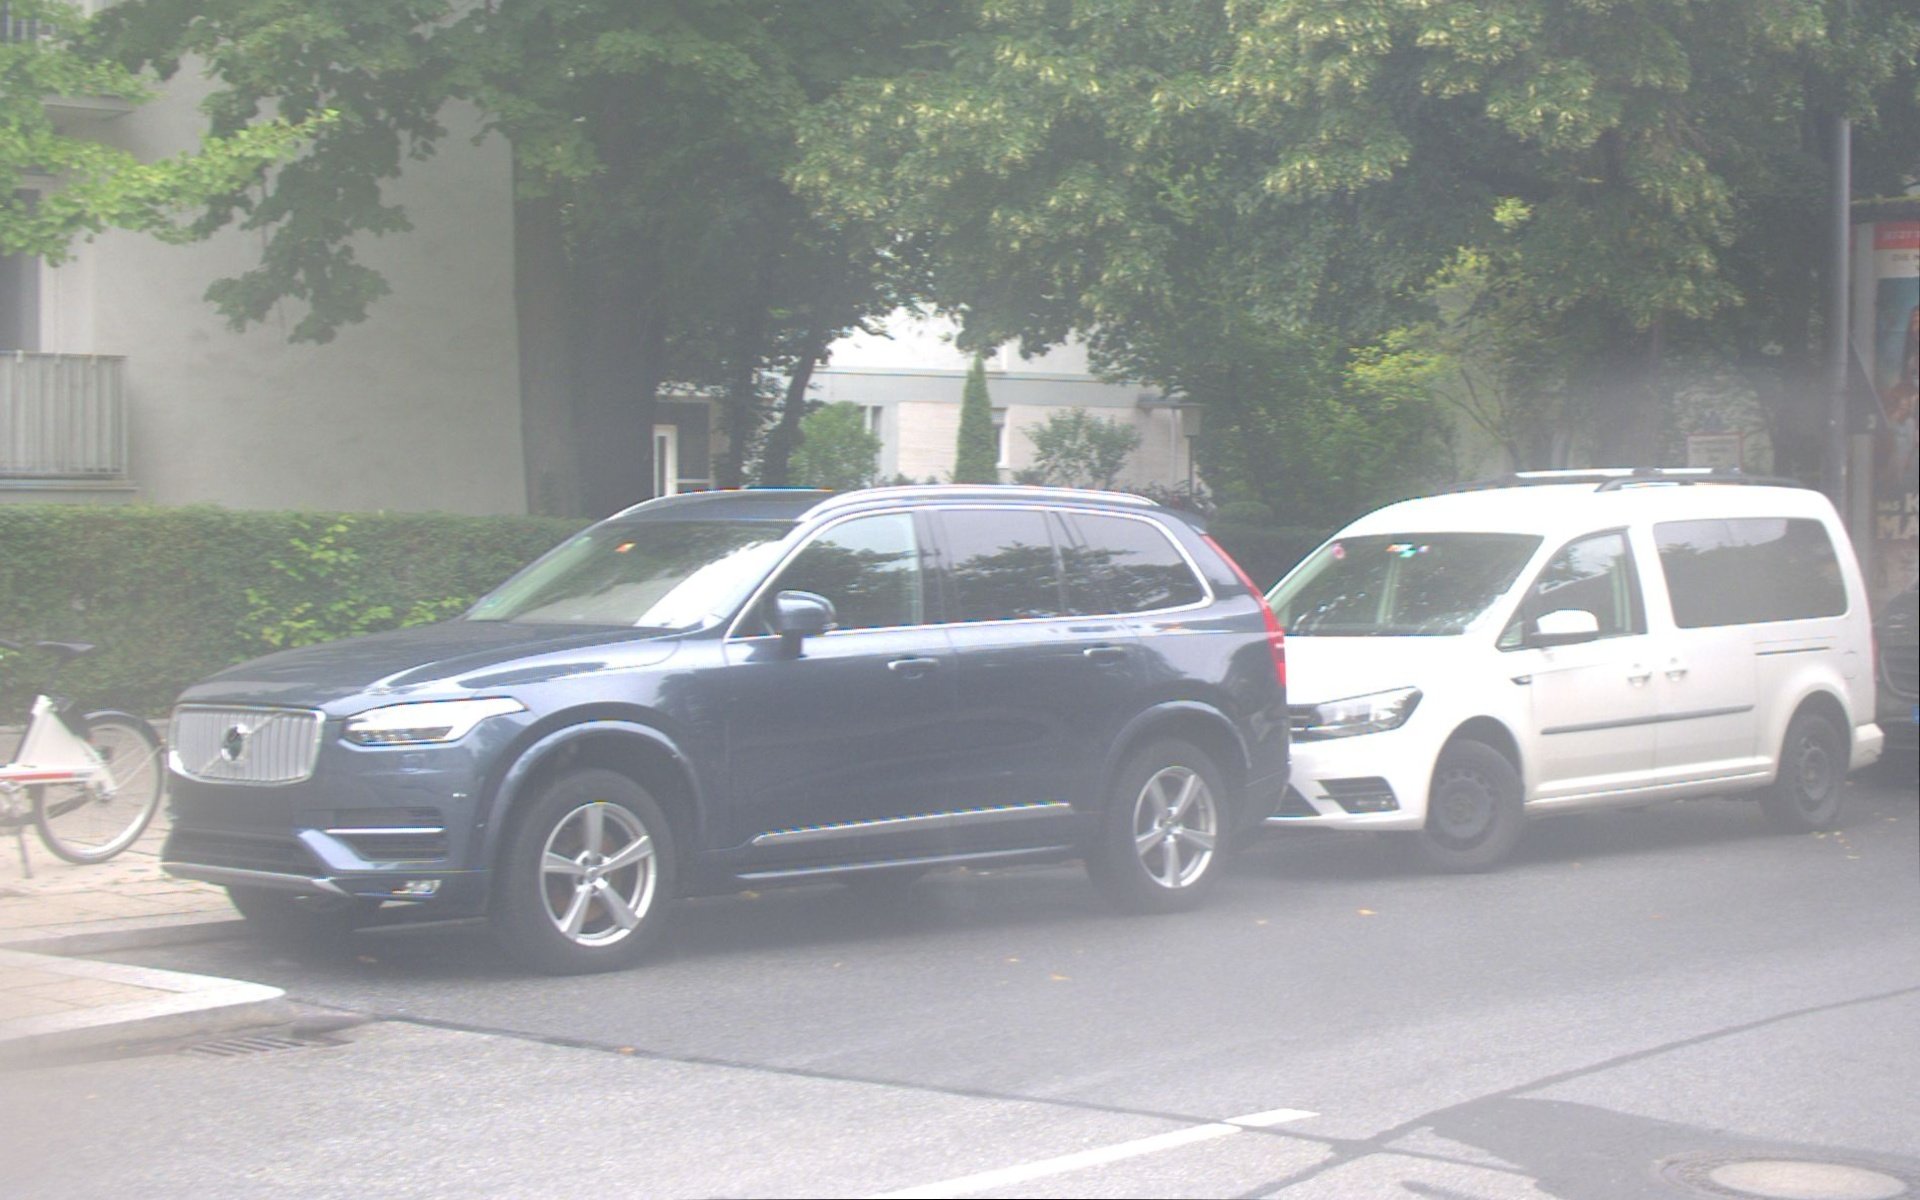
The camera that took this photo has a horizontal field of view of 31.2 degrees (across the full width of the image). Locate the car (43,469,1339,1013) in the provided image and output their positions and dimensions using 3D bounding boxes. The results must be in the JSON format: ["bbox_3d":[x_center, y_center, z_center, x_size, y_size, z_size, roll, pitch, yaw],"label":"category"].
[{"bbox_3d":[-0.882,0.406,13.554,4.894,1.761,2.070,-1,2,-44],"label":"car"}]

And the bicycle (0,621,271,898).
[{"bbox_3d":[-3.907,0.636,14.008,1.966,1.048,0.913,0,2,-43],"label":"bicycle"}]

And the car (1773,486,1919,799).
[{"bbox_3d":[7.504,0.232,22.099,4.973,1.852,2.070,-1,2,-44],"label":"car"}]

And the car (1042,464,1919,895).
[{"bbox_3d":[2.789,0.300,17.449,1.931,1.888,4.855,2,2,44],"label":"car"}]
